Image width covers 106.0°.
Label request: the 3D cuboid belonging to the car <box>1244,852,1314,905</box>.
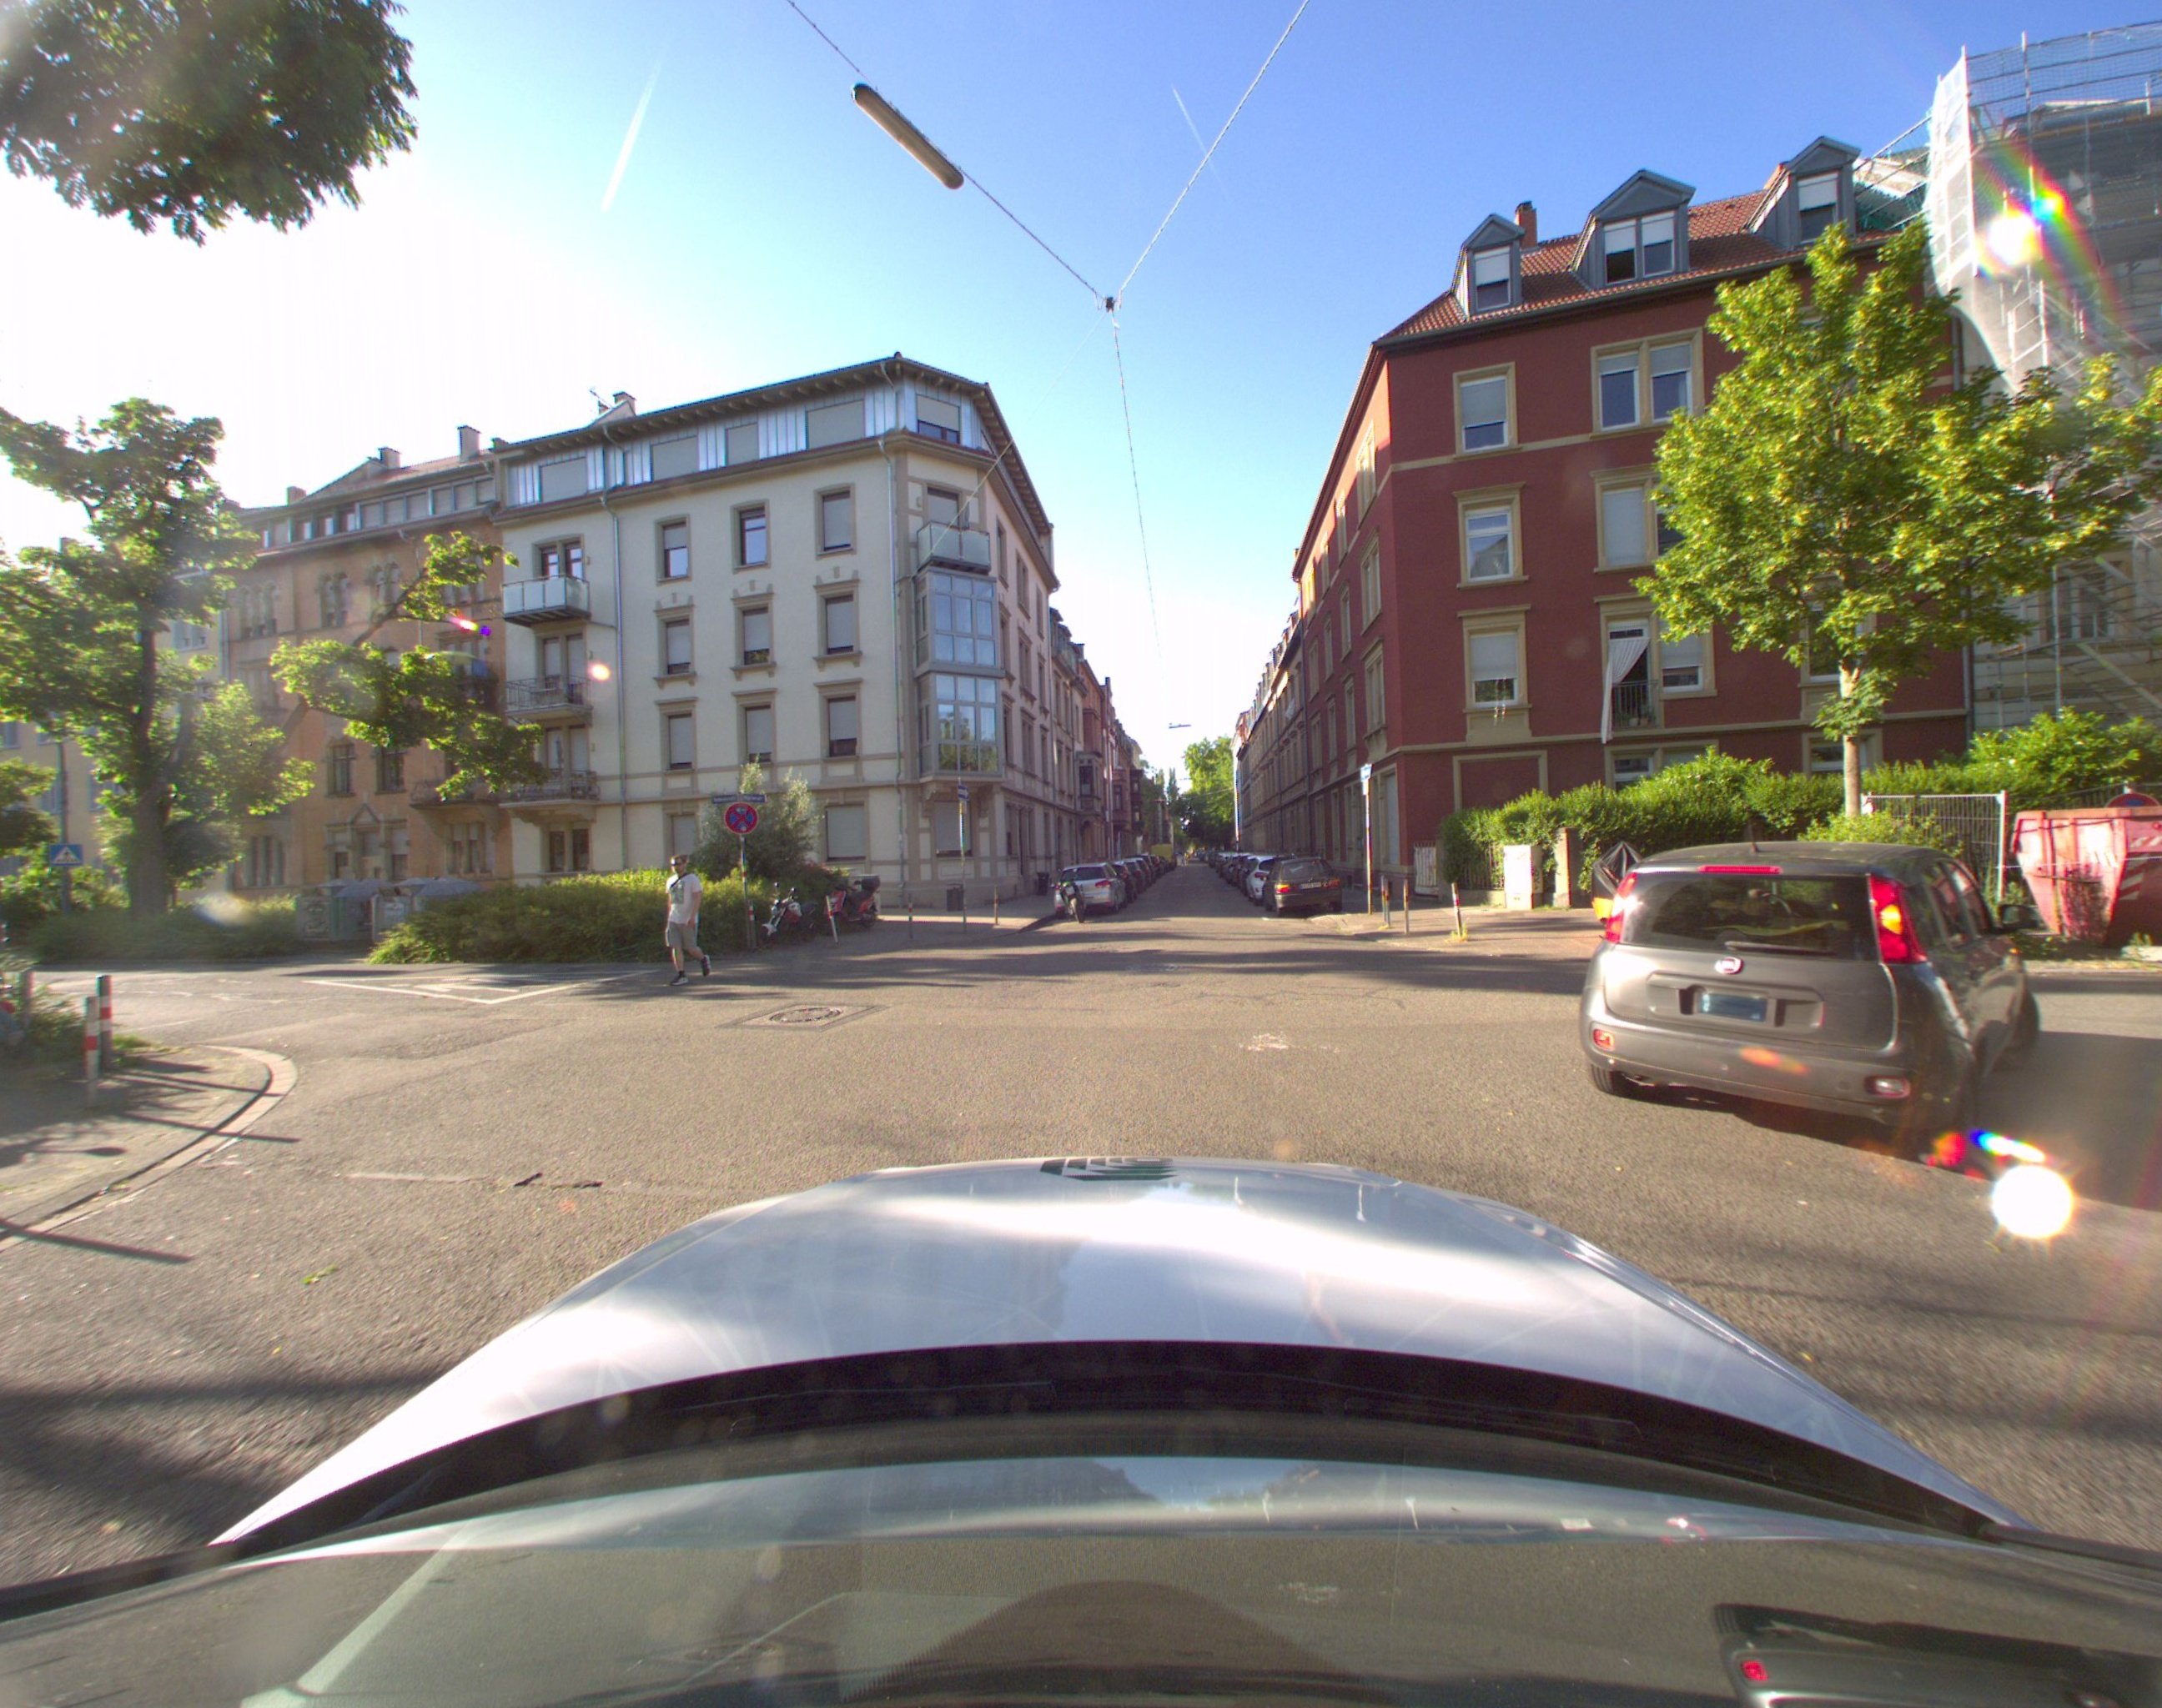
[{"bbox_3d":[6.089,0.718,25.395,1.696,1.462,3.979,-2,0,8],"label":"car"}]

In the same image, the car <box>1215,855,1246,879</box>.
[{"bbox_3d":[9.475,0.791,51.910,1.767,1.397,4.327,-2,0,8],"label":"car"}]

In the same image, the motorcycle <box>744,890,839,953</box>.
[{"bbox_3d":[-5.650,1.302,16.017,0.633,1.090,1.880,-2,-1,23],"label":"motorcycle"}]

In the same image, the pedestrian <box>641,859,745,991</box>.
[{"bbox_3d":[-5.445,0.966,11.480,0.797,1.746,1.010,-2,0,14],"label":"pedestrian"}]

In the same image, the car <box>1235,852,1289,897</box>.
[{"bbox_3d":[6.772,0.727,30.811,1.667,1.503,4.079,-2,0,8],"label":"car"}]

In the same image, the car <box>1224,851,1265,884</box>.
[{"bbox_3d":[8.209,0.644,41.174,1.752,1.484,4.412,-2,0,9],"label":"car"}]

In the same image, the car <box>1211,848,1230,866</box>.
[{"bbox_3d":[15.233,0.317,89.334,1.744,1.786,4.734,-5,0,8],"label":"car"}]

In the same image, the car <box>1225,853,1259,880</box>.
[{"bbox_3d":[9.079,0.666,46.180,1.682,1.406,4.002,-2,0,9],"label":"car"}]

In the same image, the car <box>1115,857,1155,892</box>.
[{"bbox_3d":[2.689,0.969,39.979,1.634,1.455,3.847,-5,0,7],"label":"car"}]

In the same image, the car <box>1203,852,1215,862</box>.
[{"bbox_3d":[22.699,0.493,144.340,1.884,1.625,4.008,-2,-1,7],"label":"car"}]

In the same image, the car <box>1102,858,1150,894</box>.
[{"bbox_3d":[1.995,0.917,35.156,1.772,1.403,3.749,-2,0,6],"label":"car"}]

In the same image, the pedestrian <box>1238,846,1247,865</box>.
[{"bbox_3d":[14.714,0.154,74.284,0.649,1.630,0.883,-4,-1,11],"label":"pedestrian"}]

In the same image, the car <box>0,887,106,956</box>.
[{"bbox_3d":[-34.444,2.186,25.263,1.977,2.013,4.933,-3,0,18],"label":"car"}]

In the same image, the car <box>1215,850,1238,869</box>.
[{"bbox_3d":[13.930,0.505,78.057,1.744,1.518,4.452,-6,0,7],"label":"car"}]

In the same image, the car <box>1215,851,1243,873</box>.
[{"bbox_3d":[11.340,0.584,62.615,1.745,1.446,4.076,-6,-1,6],"label":"car"}]

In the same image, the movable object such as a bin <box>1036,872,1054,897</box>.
[{"bbox_3d":[-1.438,1.192,32.254,0.618,0.956,0.512,-1,0,7],"label":"movable object such as a bin"}]

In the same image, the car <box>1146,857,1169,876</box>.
[{"bbox_3d":[6.156,0.968,65.417,1.609,1.326,3.620,-5,-1,7],"label":"car"}]

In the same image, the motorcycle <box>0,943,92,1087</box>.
[{"bbox_3d":[-9.145,1.347,6.238,0.538,1.102,1.904,-2,0,17],"label":"motorcycle"}]

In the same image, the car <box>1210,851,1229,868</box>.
[{"bbox_3d":[14.291,0.547,83.961,1.743,1.452,4.299,-6,0,9],"label":"car"}]

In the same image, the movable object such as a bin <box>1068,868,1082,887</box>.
[{"bbox_3d":[-0.291,1.205,41.545,0.609,0.920,0.735,-2,-1,7],"label":"movable object such as a bin"}]

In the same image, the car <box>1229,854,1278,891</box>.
[{"bbox_3d":[7.599,0.777,36.182,1.650,1.479,4.031,-2,0,6],"label":"car"}]

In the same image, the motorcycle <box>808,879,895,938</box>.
[{"bbox_3d":[-5.095,1.182,18.222,0.605,1.196,2.056,-3,-1,27],"label":"motorcycle"}]

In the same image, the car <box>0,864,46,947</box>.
[{"bbox_3d":[-37.138,1.766,25.772,2.113,2.705,4.930,-3,0,15],"label":"car"}]

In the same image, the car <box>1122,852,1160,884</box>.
[{"bbox_3d":[3.378,0.737,45.130,1.751,1.617,4.199,-2,0,9],"label":"car"}]

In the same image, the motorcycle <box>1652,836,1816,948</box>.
[{"bbox_3d":[9.193,0.487,11.635,0.862,1.404,2.554,-3,0,16],"label":"motorcycle"}]

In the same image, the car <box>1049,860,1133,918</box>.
[{"bbox_3d":[0.382,0.959,23.957,1.770,1.483,3.943,-2,0,10],"label":"car"}]

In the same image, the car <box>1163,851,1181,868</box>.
[{"bbox_3d":[10.175,0.606,91.326,1.810,1.766,4.342,-2,0,5],"label":"car"}]

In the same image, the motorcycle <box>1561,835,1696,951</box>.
[{"bbox_3d":[8.037,0.499,12.124,0.865,1.525,2.634,-3,1,16],"label":"motorcycle"}]

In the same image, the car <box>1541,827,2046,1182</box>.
[{"bbox_3d":[4.644,0.626,5.178,3.548,1.483,1.621,-2,0,-36],"label":"car"}]

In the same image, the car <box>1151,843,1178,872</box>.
[{"bbox_3d":[7.922,0.329,76.709,2.163,2.507,5.891,-5,-1,7],"label":"car"}]

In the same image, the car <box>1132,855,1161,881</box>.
[{"bbox_3d":[4.434,0.906,54.720,1.772,1.606,4.077,-2,0,7],"label":"car"}]

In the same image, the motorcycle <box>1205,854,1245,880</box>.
[{"bbox_3d":[8.589,0.779,48.672,2.225,1.536,0.885,0,0,-18],"label":"motorcycle"}]

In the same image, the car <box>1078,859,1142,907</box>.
[{"bbox_3d":[1.086,0.980,28.797,1.771,1.483,3.752,-2,0,8],"label":"car"}]

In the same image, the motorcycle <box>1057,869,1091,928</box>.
[{"bbox_3d":[-0.163,1.103,20.660,0.674,1.334,2.001,-5,0,1],"label":"motorcycle"}]

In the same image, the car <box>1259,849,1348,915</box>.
[{"bbox_3d":[5.599,0.655,20.890,1.659,1.483,3.713,-2,0,7],"label":"car"}]
